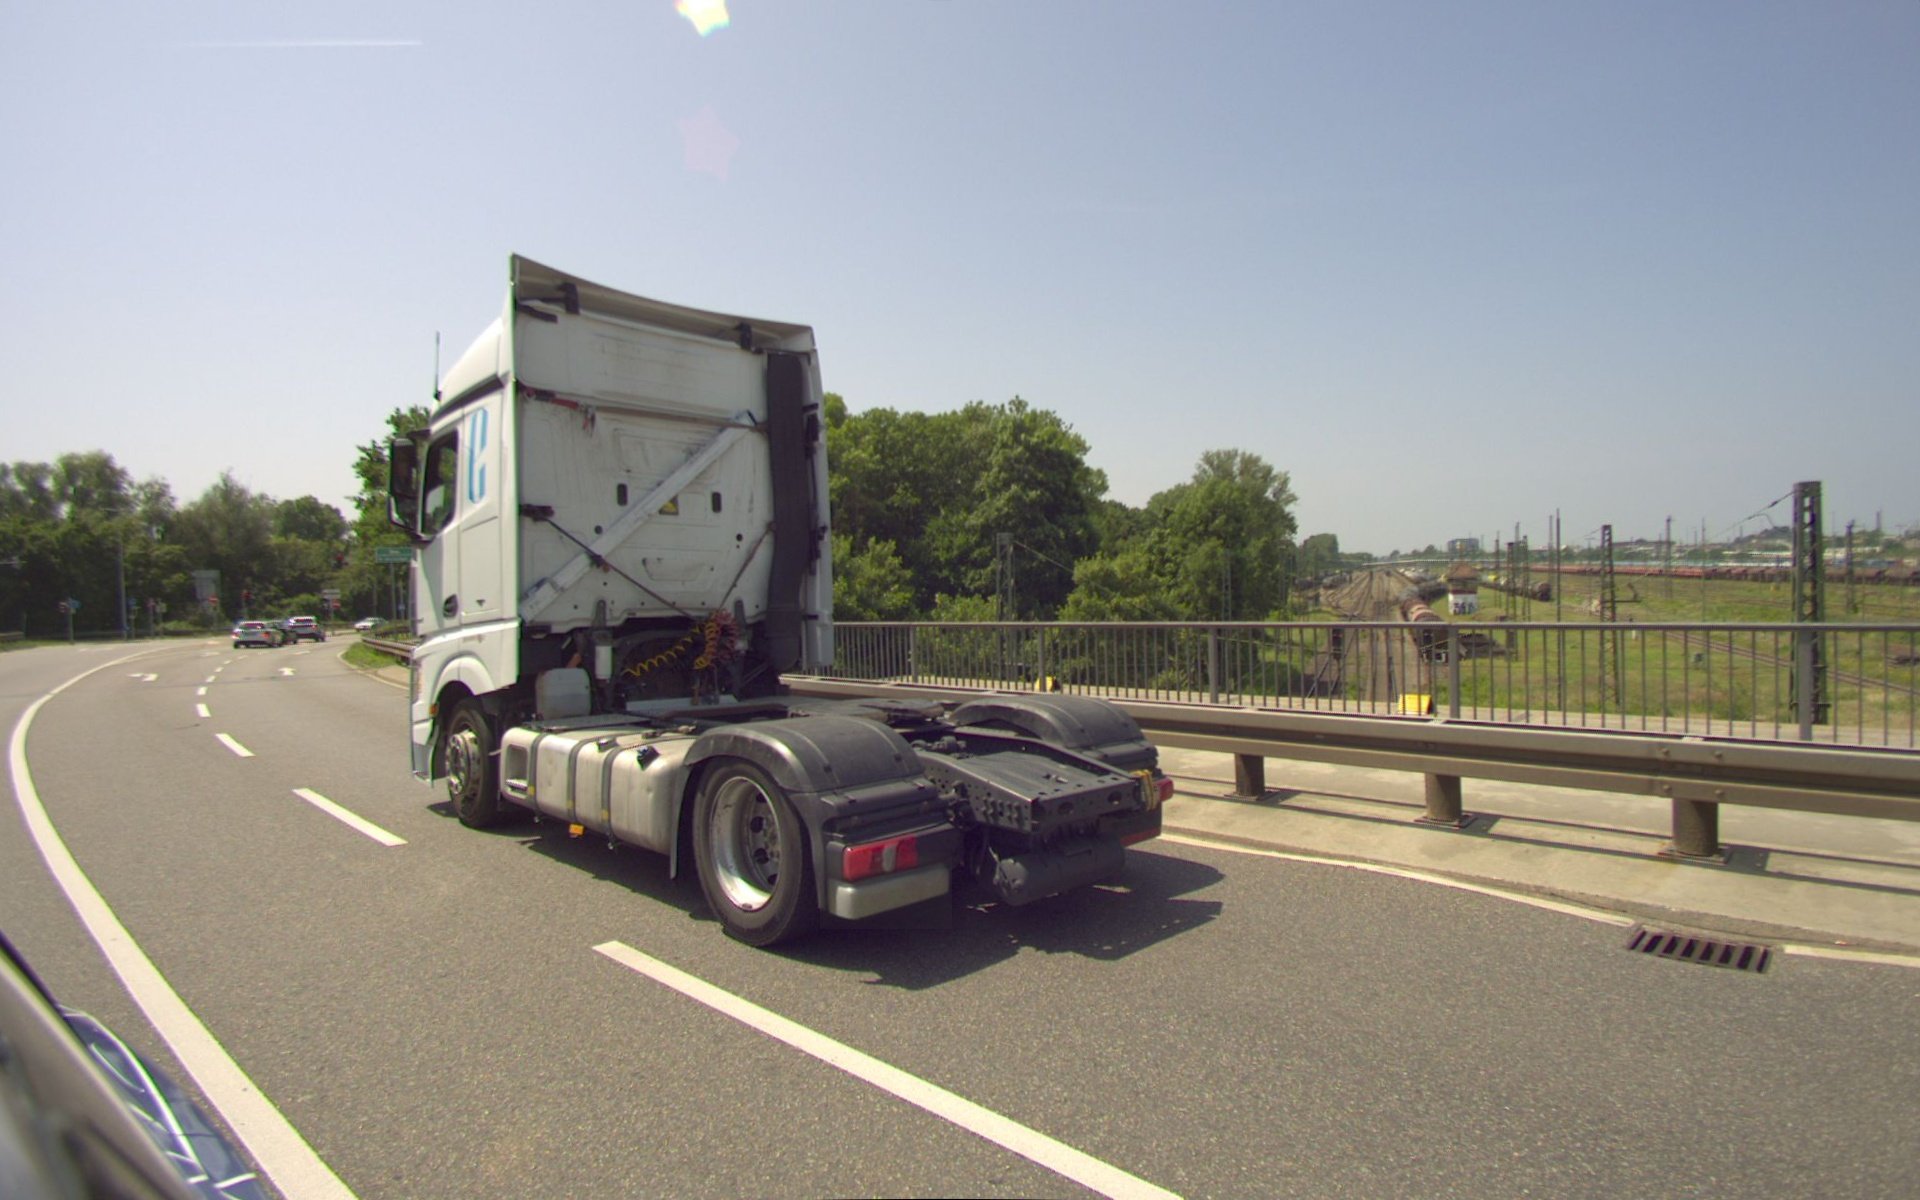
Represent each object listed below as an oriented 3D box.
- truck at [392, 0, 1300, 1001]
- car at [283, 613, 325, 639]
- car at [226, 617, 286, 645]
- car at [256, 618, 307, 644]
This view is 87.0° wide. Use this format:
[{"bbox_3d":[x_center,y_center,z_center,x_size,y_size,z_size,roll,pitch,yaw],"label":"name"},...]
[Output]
[{"bbox_3d":[-1.309,-0.527,6.725,6.188,4.022,2.675,-2,-2,44],"label":"truck"},{"bbox_3d":[-43.063,1.692,66.538,1.802,1.651,4.593,0,-1,-26],"label":"car"},{"bbox_3d":[-37.751,1.631,54.398,1.802,1.417,4.904,0,-1,-25],"label":"car"},{"bbox_3d":[-40.204,1.814,60.085,1.802,1.417,4.561,-1,-1,-25],"label":"car"}]
